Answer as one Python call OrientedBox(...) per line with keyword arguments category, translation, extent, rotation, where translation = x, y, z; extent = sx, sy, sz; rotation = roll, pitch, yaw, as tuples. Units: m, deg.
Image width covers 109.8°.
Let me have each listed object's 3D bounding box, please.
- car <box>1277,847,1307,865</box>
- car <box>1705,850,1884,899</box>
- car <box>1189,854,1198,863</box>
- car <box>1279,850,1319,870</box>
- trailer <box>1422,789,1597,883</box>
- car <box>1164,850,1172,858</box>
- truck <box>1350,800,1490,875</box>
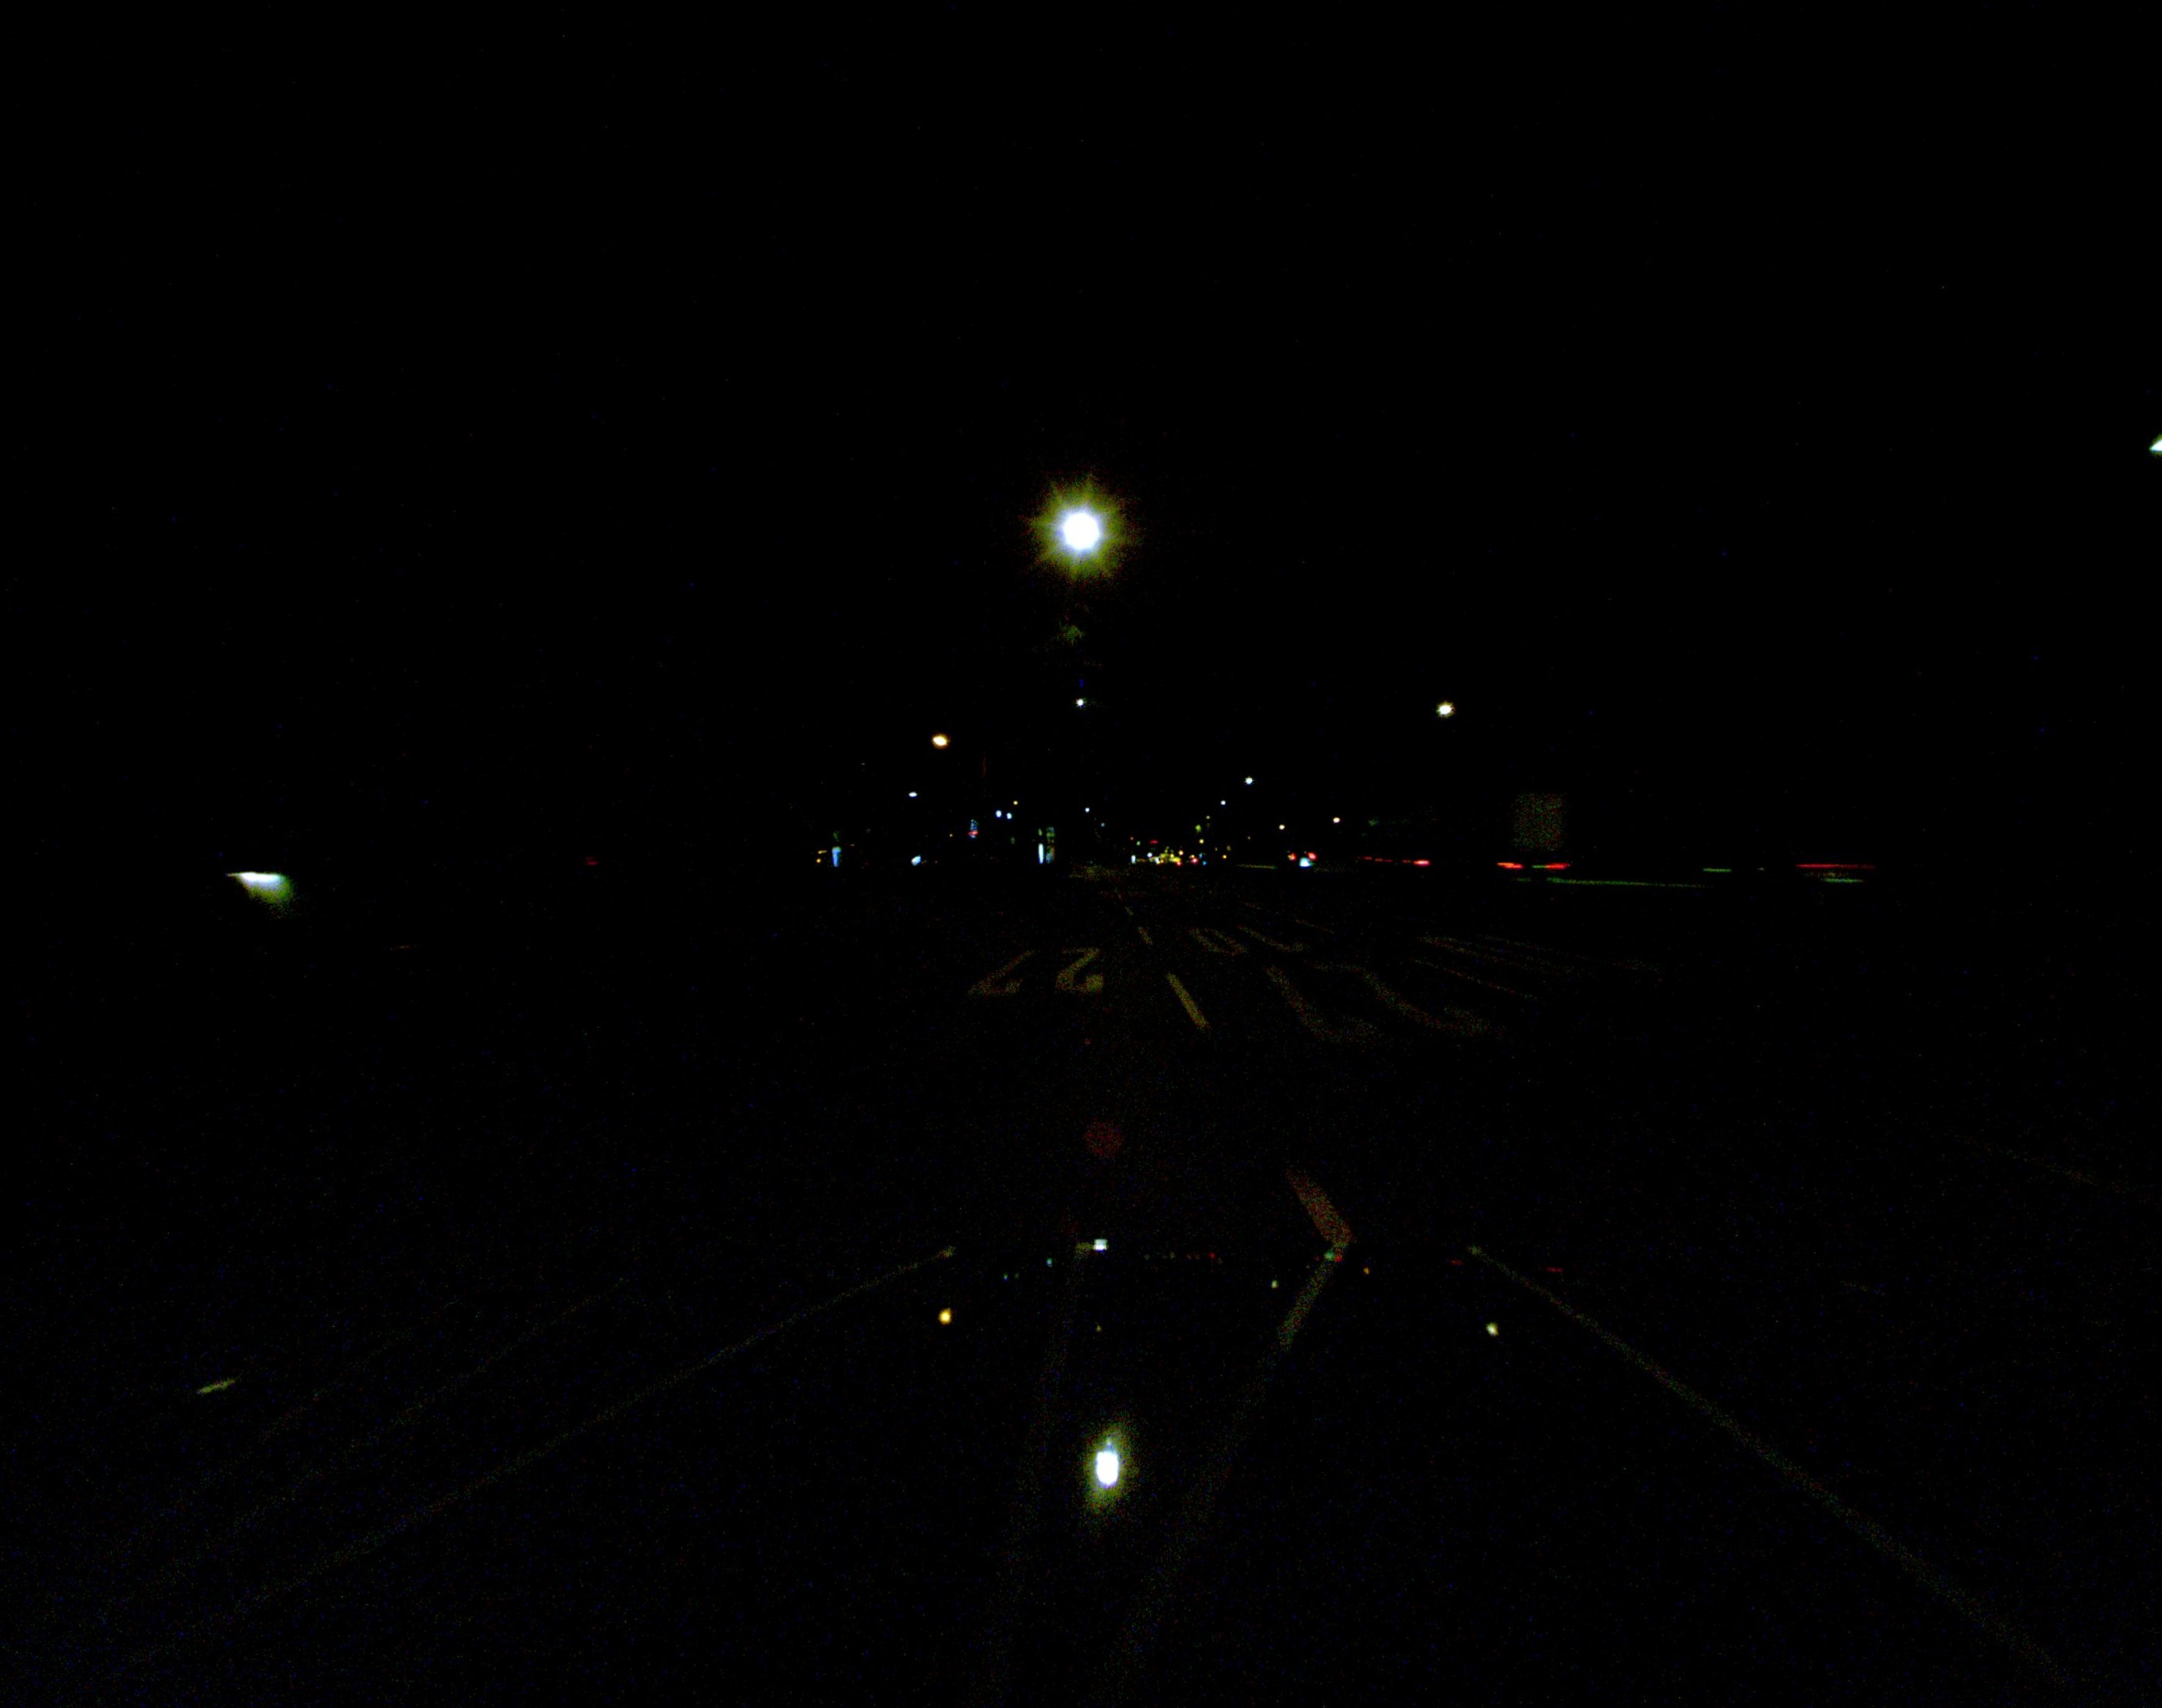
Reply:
OrientedBox(category="car", translation=(19.924, 0.144, 71.867), extent=(1.730, 1.616, 3.961), rotation=(-2, 1, 1))
OrientedBox(category="car", translation=(23.659, 0.618, 25.461), extent=(1.991, 1.472, 4.203), rotation=(1, 0, -1))
OrientedBox(category="car", translation=(27.329, 1.055, 183.915), extent=(2.059, 2.002, 4.002), rotation=(-2, 1, 9))
OrientedBox(category="car", translation=(17.083, 0.448, 59.653), extent=(1.809, 1.490, 4.083), rotation=(-1, 1, -2))
OrientedBox(category="trailer", translation=(20.642, -0.854, 37.429), extent=(3.706, 3.967, 8.393), rotation=(-2, 1, -1))
OrientedBox(category="car", translation=(22.404, 0.103, 195.638), extent=(1.794, 1.896, 4.001), rotation=(-2, 1, 5))
OrientedBox(category="truck", translation=(20.470, -0.973, 46.932), extent=(3.691, 3.932, 10.418), rotation=(-2, 1, -1))
